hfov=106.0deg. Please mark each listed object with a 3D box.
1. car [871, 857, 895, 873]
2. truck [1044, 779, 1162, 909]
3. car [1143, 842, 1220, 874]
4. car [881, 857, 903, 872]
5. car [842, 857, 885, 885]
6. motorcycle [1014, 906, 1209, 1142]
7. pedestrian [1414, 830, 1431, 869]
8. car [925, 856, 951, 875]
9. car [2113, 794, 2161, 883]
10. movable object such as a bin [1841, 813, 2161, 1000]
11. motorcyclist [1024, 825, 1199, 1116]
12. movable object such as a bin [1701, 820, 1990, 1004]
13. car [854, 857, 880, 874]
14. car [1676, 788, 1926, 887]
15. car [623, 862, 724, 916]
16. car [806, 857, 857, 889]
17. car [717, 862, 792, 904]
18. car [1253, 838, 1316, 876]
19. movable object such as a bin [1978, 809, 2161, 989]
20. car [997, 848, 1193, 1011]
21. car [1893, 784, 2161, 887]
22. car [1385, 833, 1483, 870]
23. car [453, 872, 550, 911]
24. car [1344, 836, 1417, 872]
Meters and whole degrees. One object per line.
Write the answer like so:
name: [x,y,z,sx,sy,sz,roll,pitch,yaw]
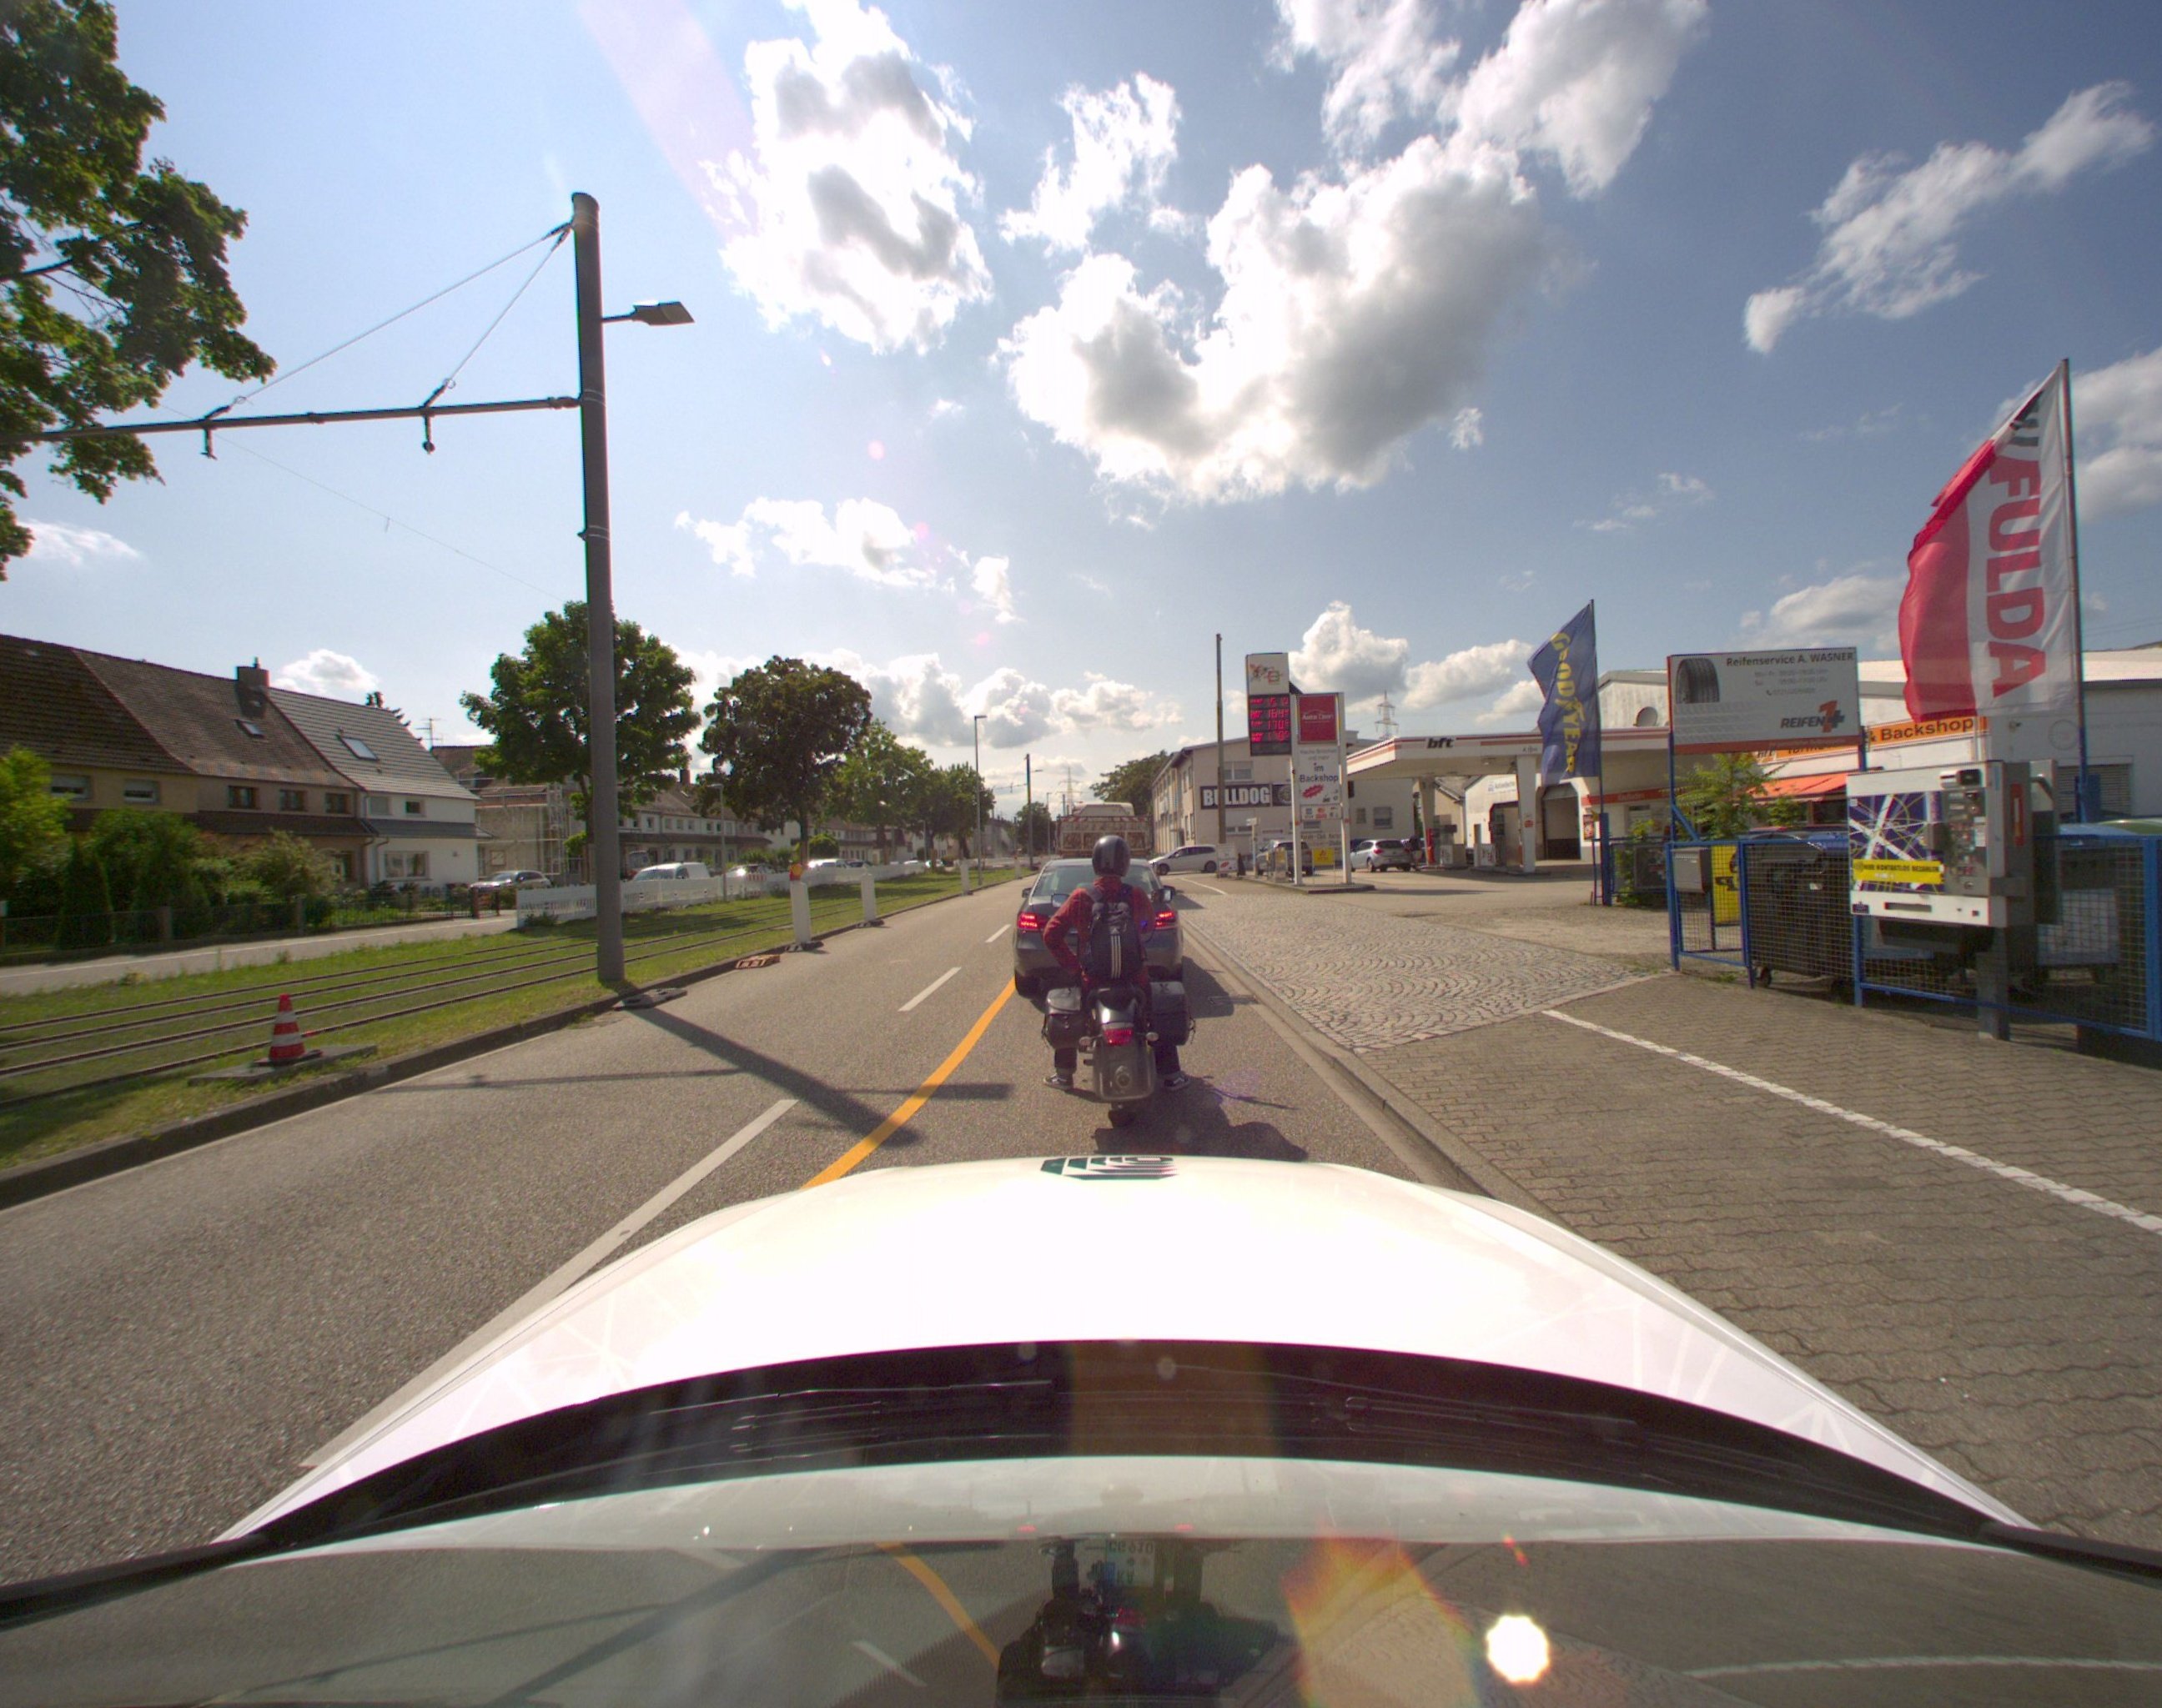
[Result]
car: [-24.058,1.345,99.099,1.692,1.739,4.064,-2,0,2]
truck: [0.639,-0.280,25.601,2.960,3.304,8.407,-2,0,1]
car: [5.764,0.232,47.046,4.100,1.624,1.682,-3,0,-7]
car: [-24.377,1.352,105.363,1.692,1.739,4.064,-2,0,2]
car: [-14.869,1.144,55.756,1.692,1.739,3.862,-2,0,2]
motorcycle: [0.191,0.932,5.310,0.972,1.013,2.433,-1,0,2]
pedestrian: [14.839,-0.206,35.385,0.628,1.683,0.626,-2,0,23]
car: [-14.042,1.152,80.329,1.692,1.739,3.862,-2,0,2]
car: [26.349,-0.431,18.181,3.972,2.013,2.001,-2,0,1]
movable object such as a bin: [8.100,0.416,7.277,1.222,1.454,1.455,-2,0,0]
motorcyclist: [0.191,0.653,5.193,0.966,1.633,1.215,-1,0,1]
movable object such as a bin: [6.821,0.470,7.401,1.222,1.454,1.455,-2,0,0]
car: [-24.464,1.309,93.137,1.692,1.739,4.064,-2,0,2]
car: [16.599,-0.369,18.958,3.972,2.013,2.001,-2,0,1]
car: [-15.420,1.279,31.054,1.692,1.817,3.862,-2,0,2]
car: [-15.051,1.113,49.388,1.692,1.739,3.862,-2,0,2]
car: [-15.328,1.327,38.484,1.692,1.739,4.056,-2,0,2]
car: [9.066,0.126,36.573,1.826,1.536,4.009,-3,0,1]
movable object such as a bin: [9.446,0.336,7.187,1.425,1.454,1.455,-2,0,0]
car: [0.165,0.719,9.842,1.826,1.479,4.009,-3,0,1]
car: [21.246,-0.398,18.266,3.972,2.013,2.001,-2,0,1]
car: [17.391,-0.110,40.235,4.065,1.624,1.696,-2,0,39]
car: [-27.481,1.732,38.791,1.692,1.593,3.862,-2,0,2]
car: [13.536,-0.019,37.065,1.826,1.479,4.009,-3,0,1]
